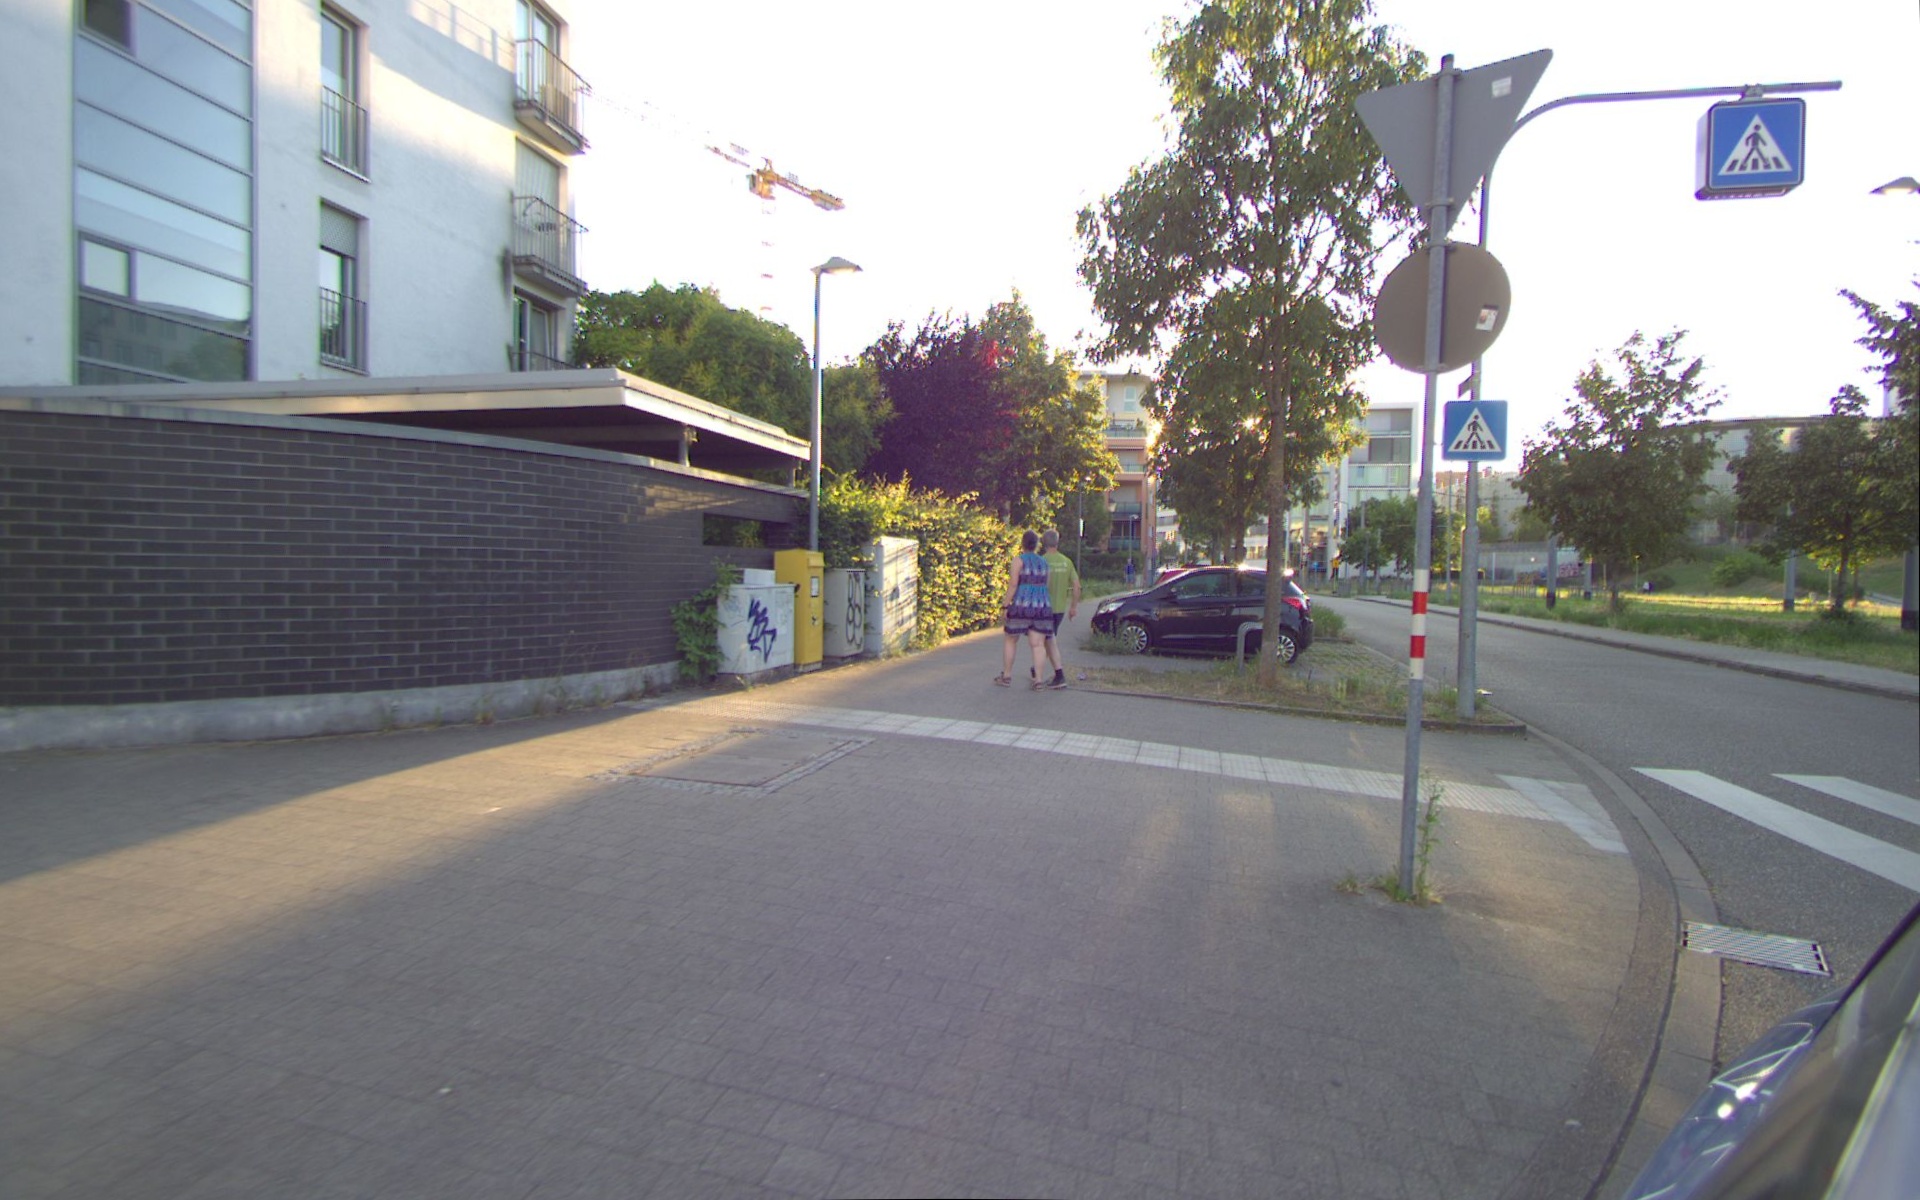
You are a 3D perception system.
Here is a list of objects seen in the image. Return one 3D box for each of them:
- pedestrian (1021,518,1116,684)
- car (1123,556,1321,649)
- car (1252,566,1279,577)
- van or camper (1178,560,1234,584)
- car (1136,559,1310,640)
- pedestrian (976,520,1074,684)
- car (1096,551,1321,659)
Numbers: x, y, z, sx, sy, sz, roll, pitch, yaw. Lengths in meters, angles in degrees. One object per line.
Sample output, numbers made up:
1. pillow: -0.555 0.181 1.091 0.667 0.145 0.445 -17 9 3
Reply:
1. pedestrian: 1.145 -0.005 10.783 0.611 1.687 0.745 2 2 -27
2. car: 4.805 0.005 18.803 3.360 1.519 1.588 2 2 14
3. car: 47.151 -4.349 156.153 3.819 1.633 1.697 1 1 12
4. van or camper: 17.782 -2.039 73.317 3.817 1.715 1.830 1 1 10
5. car: 5.475 -0.049 21.285 3.360 1.519 1.588 2 2 14
6. pedestrian: 0.659 0.008 10.456 0.643 1.619 0.714 3 2 -27
7. car: 4.003 0.035 16.578 3.360 1.540 1.684 2 2 13
